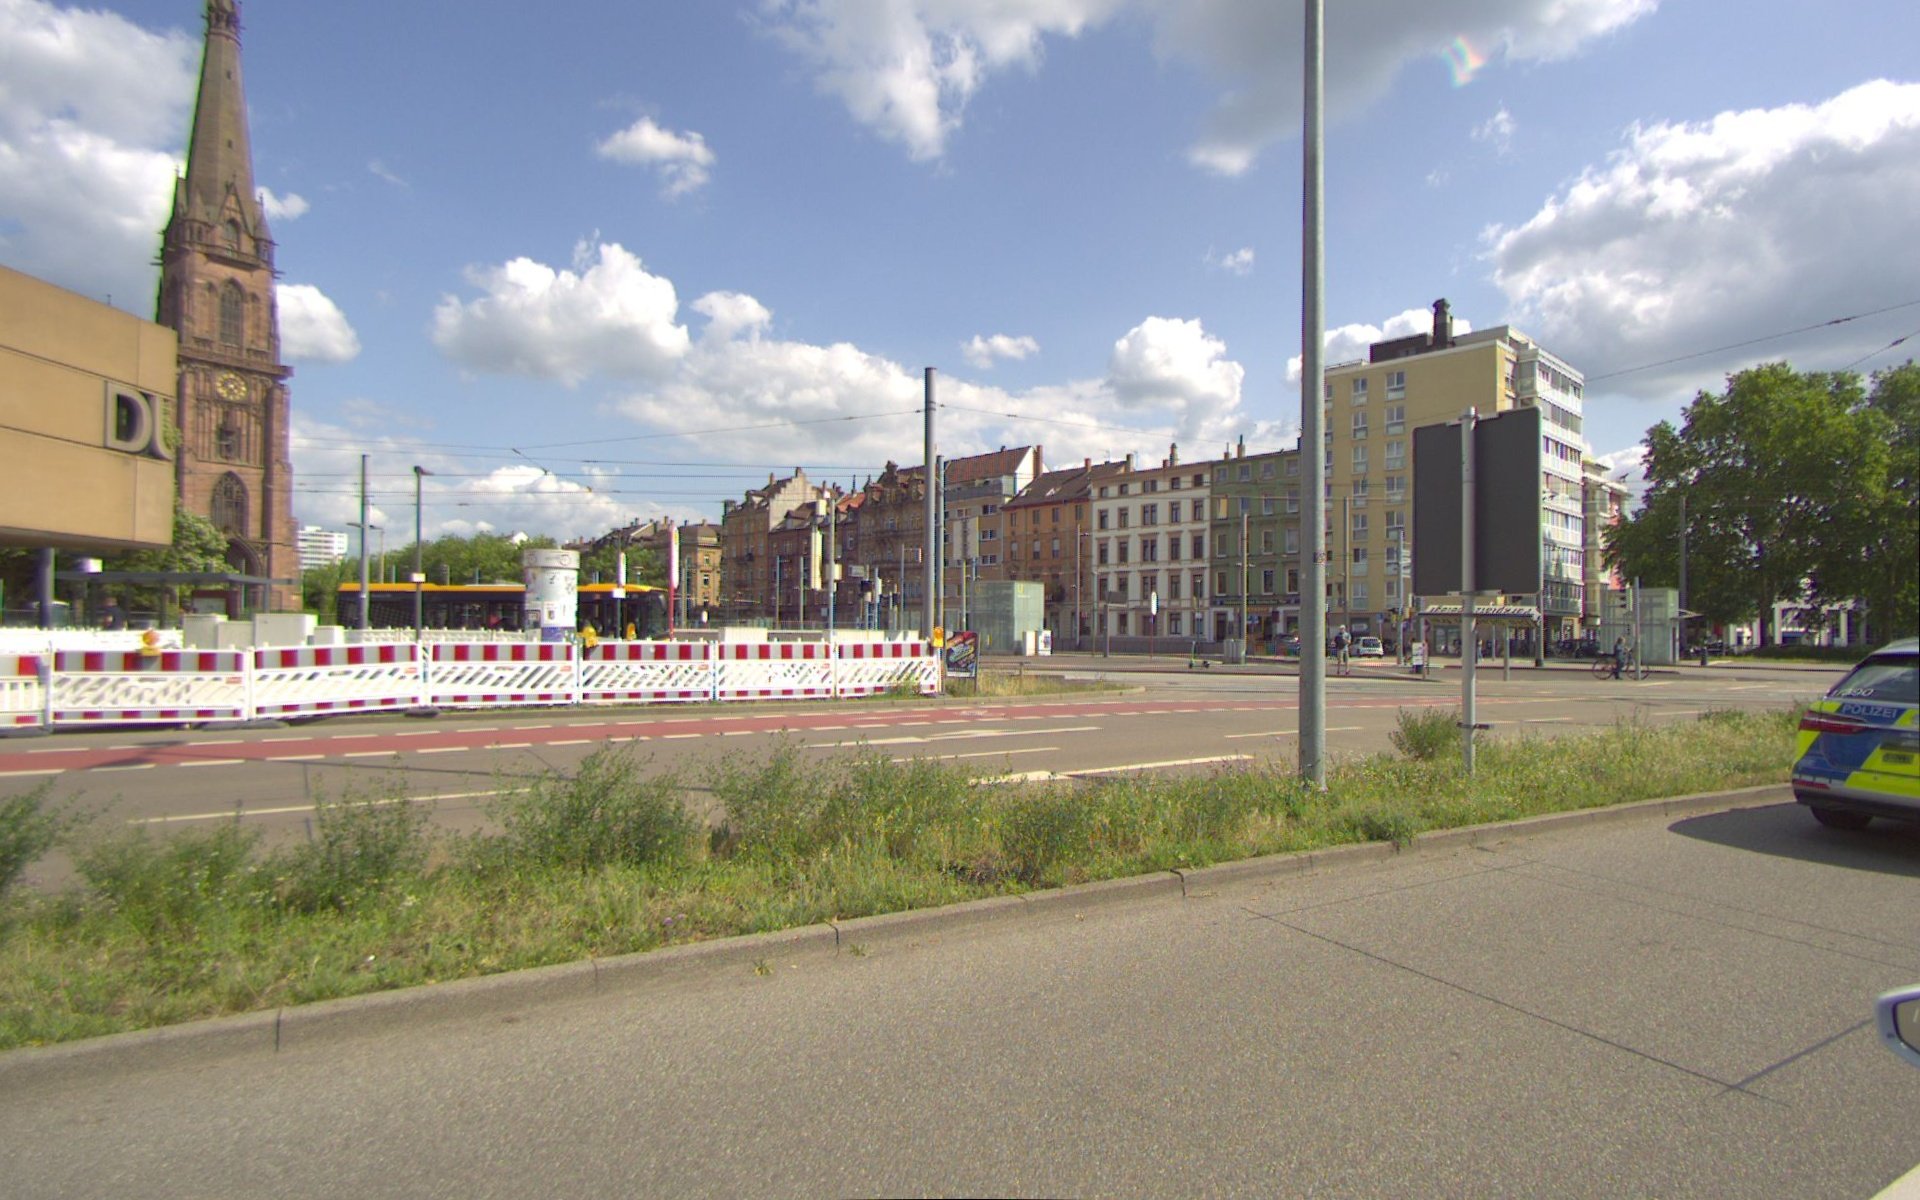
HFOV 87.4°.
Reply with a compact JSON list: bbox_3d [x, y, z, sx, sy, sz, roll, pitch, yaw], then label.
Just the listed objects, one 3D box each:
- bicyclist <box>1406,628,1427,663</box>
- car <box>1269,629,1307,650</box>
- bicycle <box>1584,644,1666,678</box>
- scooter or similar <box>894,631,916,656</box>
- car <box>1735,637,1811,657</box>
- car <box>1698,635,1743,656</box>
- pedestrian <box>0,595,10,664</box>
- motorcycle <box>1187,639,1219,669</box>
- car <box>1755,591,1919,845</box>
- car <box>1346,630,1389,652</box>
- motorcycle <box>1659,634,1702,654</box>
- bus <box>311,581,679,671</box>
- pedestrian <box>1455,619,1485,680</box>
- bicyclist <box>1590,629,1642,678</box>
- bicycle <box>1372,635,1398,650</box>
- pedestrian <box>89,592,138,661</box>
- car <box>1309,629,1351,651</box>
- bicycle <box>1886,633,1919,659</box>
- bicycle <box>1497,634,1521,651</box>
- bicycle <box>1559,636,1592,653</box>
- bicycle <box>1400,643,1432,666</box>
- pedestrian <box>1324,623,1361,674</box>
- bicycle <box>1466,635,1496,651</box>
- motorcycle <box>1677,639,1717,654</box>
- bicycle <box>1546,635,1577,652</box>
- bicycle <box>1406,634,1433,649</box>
[{"bbox_3d":[24.041,2.394,52.903,0.768,1.821,0.706,2,0,42],"label":"bicyclist"},{"bbox_3d":[24.711,3.002,75.819,1.861,1.516,3.902,1,-2,4],"label":"car"},{"bbox_3d":[24.144,2.205,36.529,0.984,1.204,2.281,2,-3,-32],"label":"bicycle"},{"bbox_3d":[-2.625,2.068,48.266,0.836,1.120,1.646,2,0,4],"label":"scooter or similar"},{"bbox_3d":[58.591,3.390,72.456,1.615,1.344,3.967,3,-3,-31],"label":"car"},{"bbox_3d":[54.983,3.311,72.580,3.970,1.432,1.888,4,-4,-42],"label":"car"},{"bbox_3d":[-23.564,0.708,24.304,0.760,1.653,0.645,2,-2,-41],"label":"pedestrian"},{"bbox_3d":[10.142,2.249,41.954,0.478,1.253,1.437,2,-2,-27],"label":"motorcycle"},{"bbox_3d":[8.040,0.788,7.325,4.557,1.589,1.873,1,-2,-28],"label":"car"},{"bbox_3d":[29.245,2.966,72.184,1.861,1.516,3.903,1,-2,5],"label":"car"},{"bbox_3d":[46.402,2.820,64.734,0.890,1.254,2.214,0,-1,-12],"label":"motorcycle"},{"bbox_3d":[-17.370,0.974,38.058,12.586,3.177,2.835,0,-1,1],"label":"bus"},{"bbox_3d":[16.385,1.576,32.264,0.753,1.928,0.825,2,0,29],"label":"pedestrian"},{"bbox_3d":[24.008,1.966,36.776,0.984,1.753,1.290,2,-3,-32],"label":"bicyclist"},{"bbox_3d":[33.345,3.324,78.828,1.783,1.118,0.792,0,-2,42],"label":"bicycle"},{"bbox_3d":[-20.493,0.646,24.332,0.549,1.651,0.732,1,-1,-7],"label":"pedestrian"},{"bbox_3d":[26.892,2.943,73.159,1.861,1.516,3.902,1,-2,4],"label":"car"},{"bbox_3d":[53.991,2.622,56.940,0.807,1.433,2.146,1,0,-44],"label":"bicycle"},{"bbox_3d":[40.275,3.123,73.689,1.791,1.275,0.789,2,-1,-34],"label":"bicycle"},{"bbox_3d":[44.351,3.188,72.407,1.922,1.162,0.792,0,-2,43],"label":"bicycle"},{"bbox_3d":[23.972,2.846,52.822,0.877,1.153,2.345,2,0,41],"label":"bicycle"},{"bbox_3d":[14.006,1.760,36.781,1.015,1.821,0.762,2,0,-27],"label":"pedestrian"},{"bbox_3d":[38.173,3.149,73.631,1.783,1.118,0.792,0,-2,42],"label":"bicycle"},{"bbox_3d":[49.984,3.150,68.139,2.003,0.929,0.812,-1,-1,7],"label":"motorcycle"},{"bbox_3d":[43.112,3.129,71.989,1.784,1.162,0.792,0,-2,43],"label":"bicycle"},{"bbox_3d":[35.206,3.159,76.962,1.783,1.118,0.792,0,-2,42],"label":"bicycle"}]
